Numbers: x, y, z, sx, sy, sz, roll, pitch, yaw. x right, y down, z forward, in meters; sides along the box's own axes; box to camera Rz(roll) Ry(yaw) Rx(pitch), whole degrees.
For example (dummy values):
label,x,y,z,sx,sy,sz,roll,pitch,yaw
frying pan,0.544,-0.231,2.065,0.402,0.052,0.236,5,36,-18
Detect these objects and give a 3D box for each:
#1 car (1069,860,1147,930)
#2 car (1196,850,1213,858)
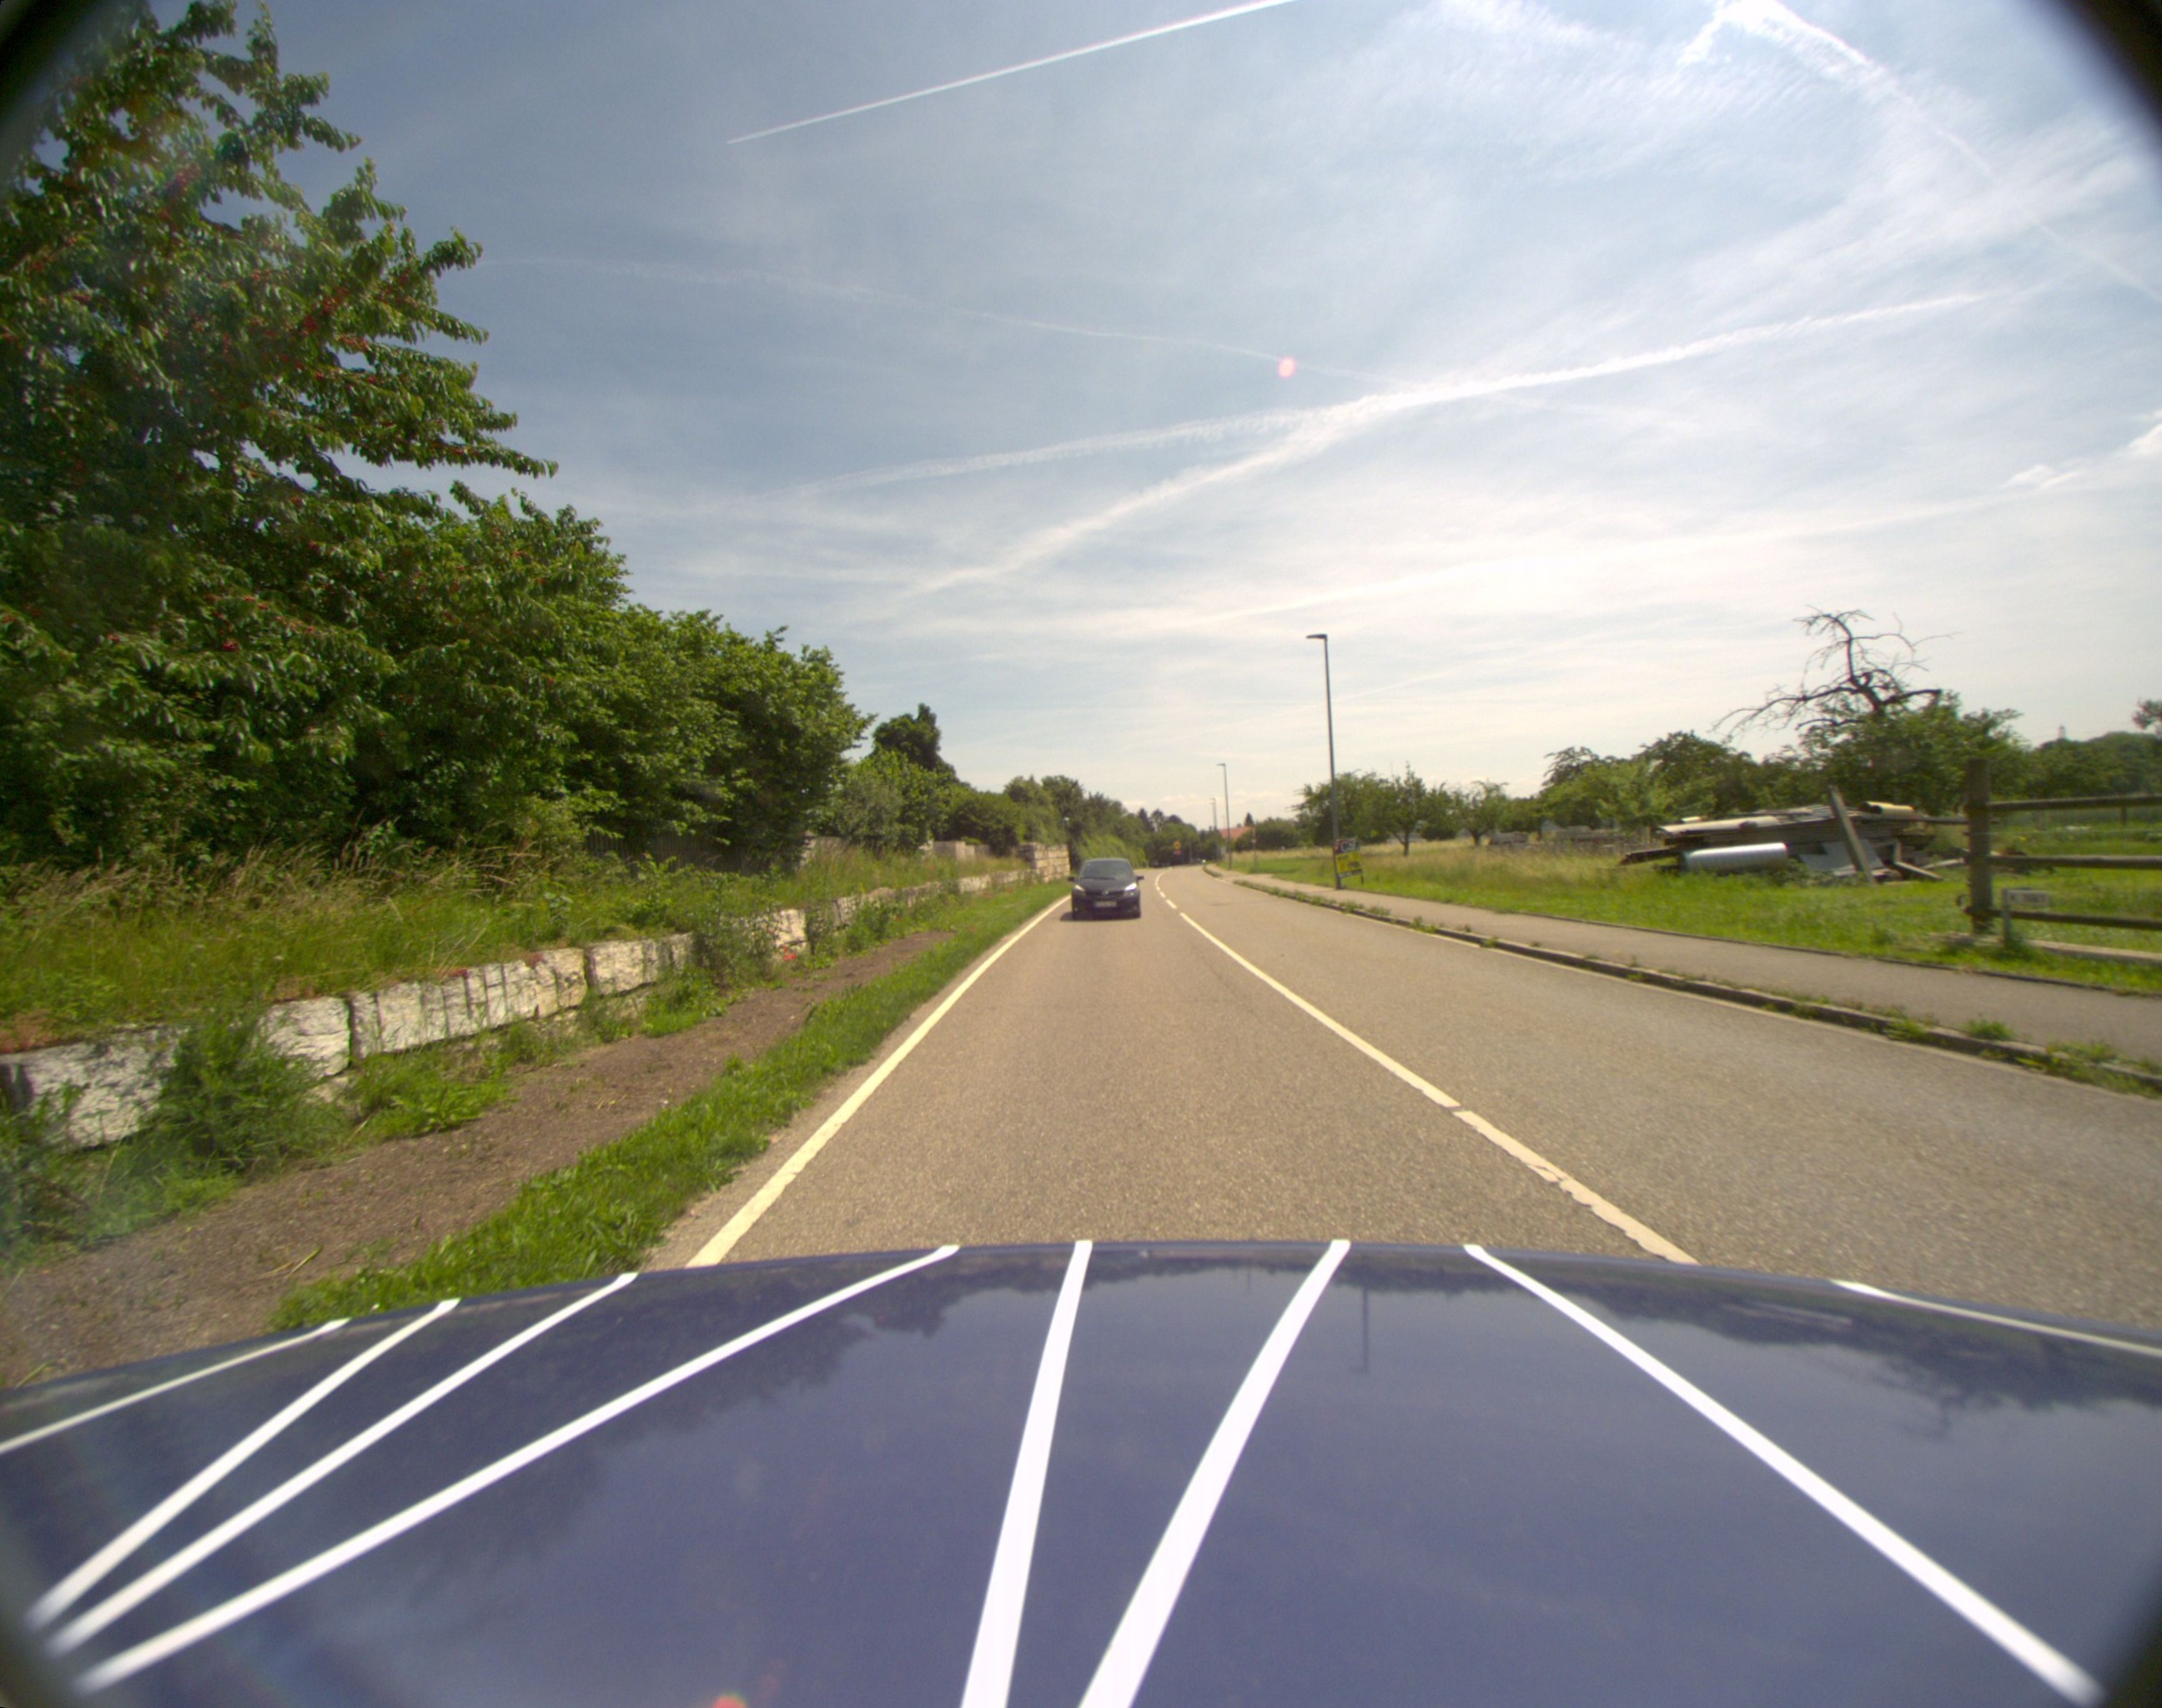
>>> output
label,x,y,z,sx,sy,sz,roll,pitch,yaw
car,0.626,0.924,18.919,1.677,1.456,4.432,-1,0,1
car,35.130,-0.105,215.825,4.695,2.002,2.001,-3,1,7
